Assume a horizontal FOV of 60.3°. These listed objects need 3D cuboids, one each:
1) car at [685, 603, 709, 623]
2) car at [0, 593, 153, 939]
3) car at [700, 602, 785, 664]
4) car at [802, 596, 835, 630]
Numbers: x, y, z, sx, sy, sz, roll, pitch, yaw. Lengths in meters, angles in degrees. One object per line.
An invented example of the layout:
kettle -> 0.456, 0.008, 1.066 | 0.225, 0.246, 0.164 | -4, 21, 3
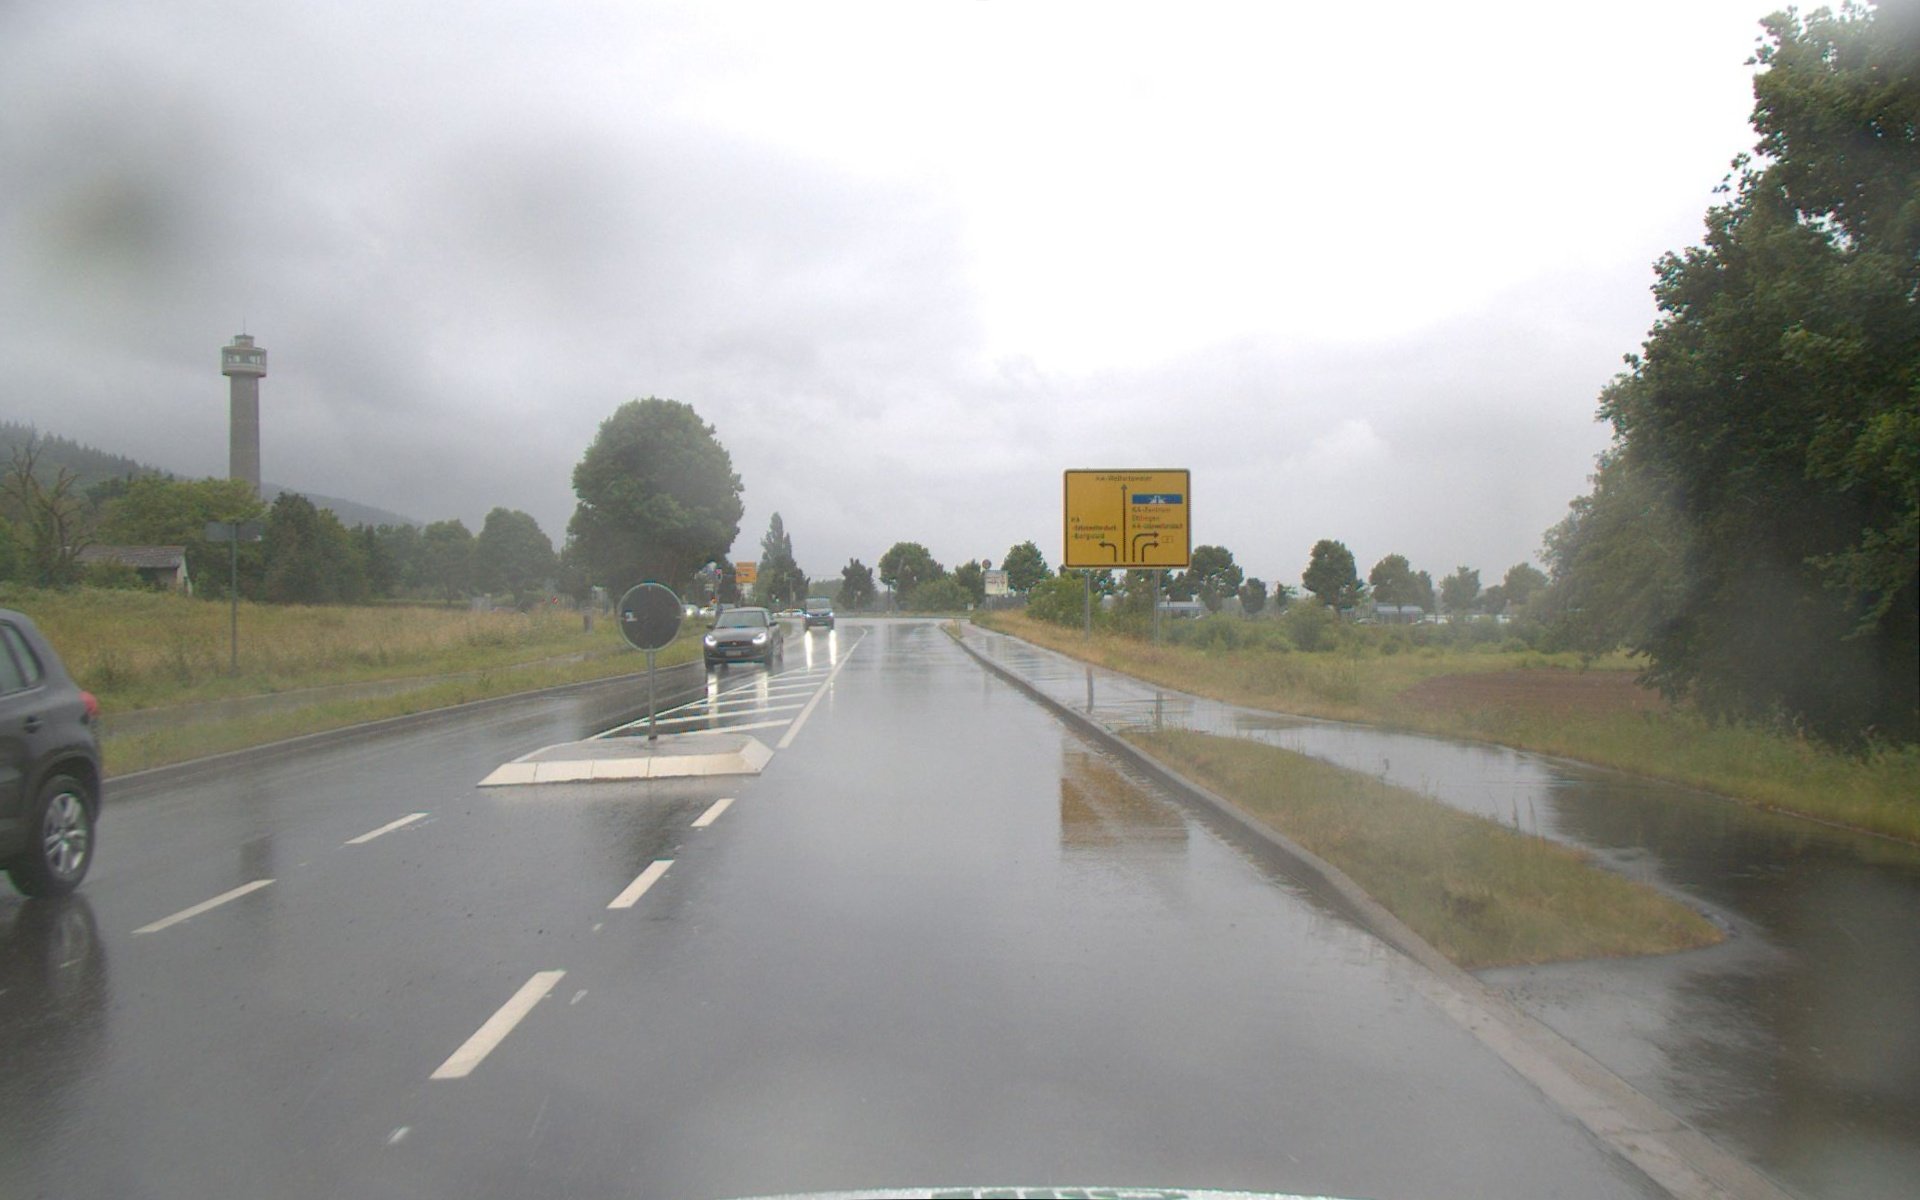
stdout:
car -> -28.689, 1.436, 180.339 | 1.962, 2.049, 3.982 | 3, 0, -17
car -> -5.750, 0.895, 7.933 | 1.706, 1.748, 4.265 | -3, 1, -2
car -> -5.586, 0.823, 42.894 | 1.662, 1.426, 3.767 | -3, 0, -1
car -> -9.201, 0.823, 107.828 | 1.954, 2.007, 4.953 | -3, 0, -3
